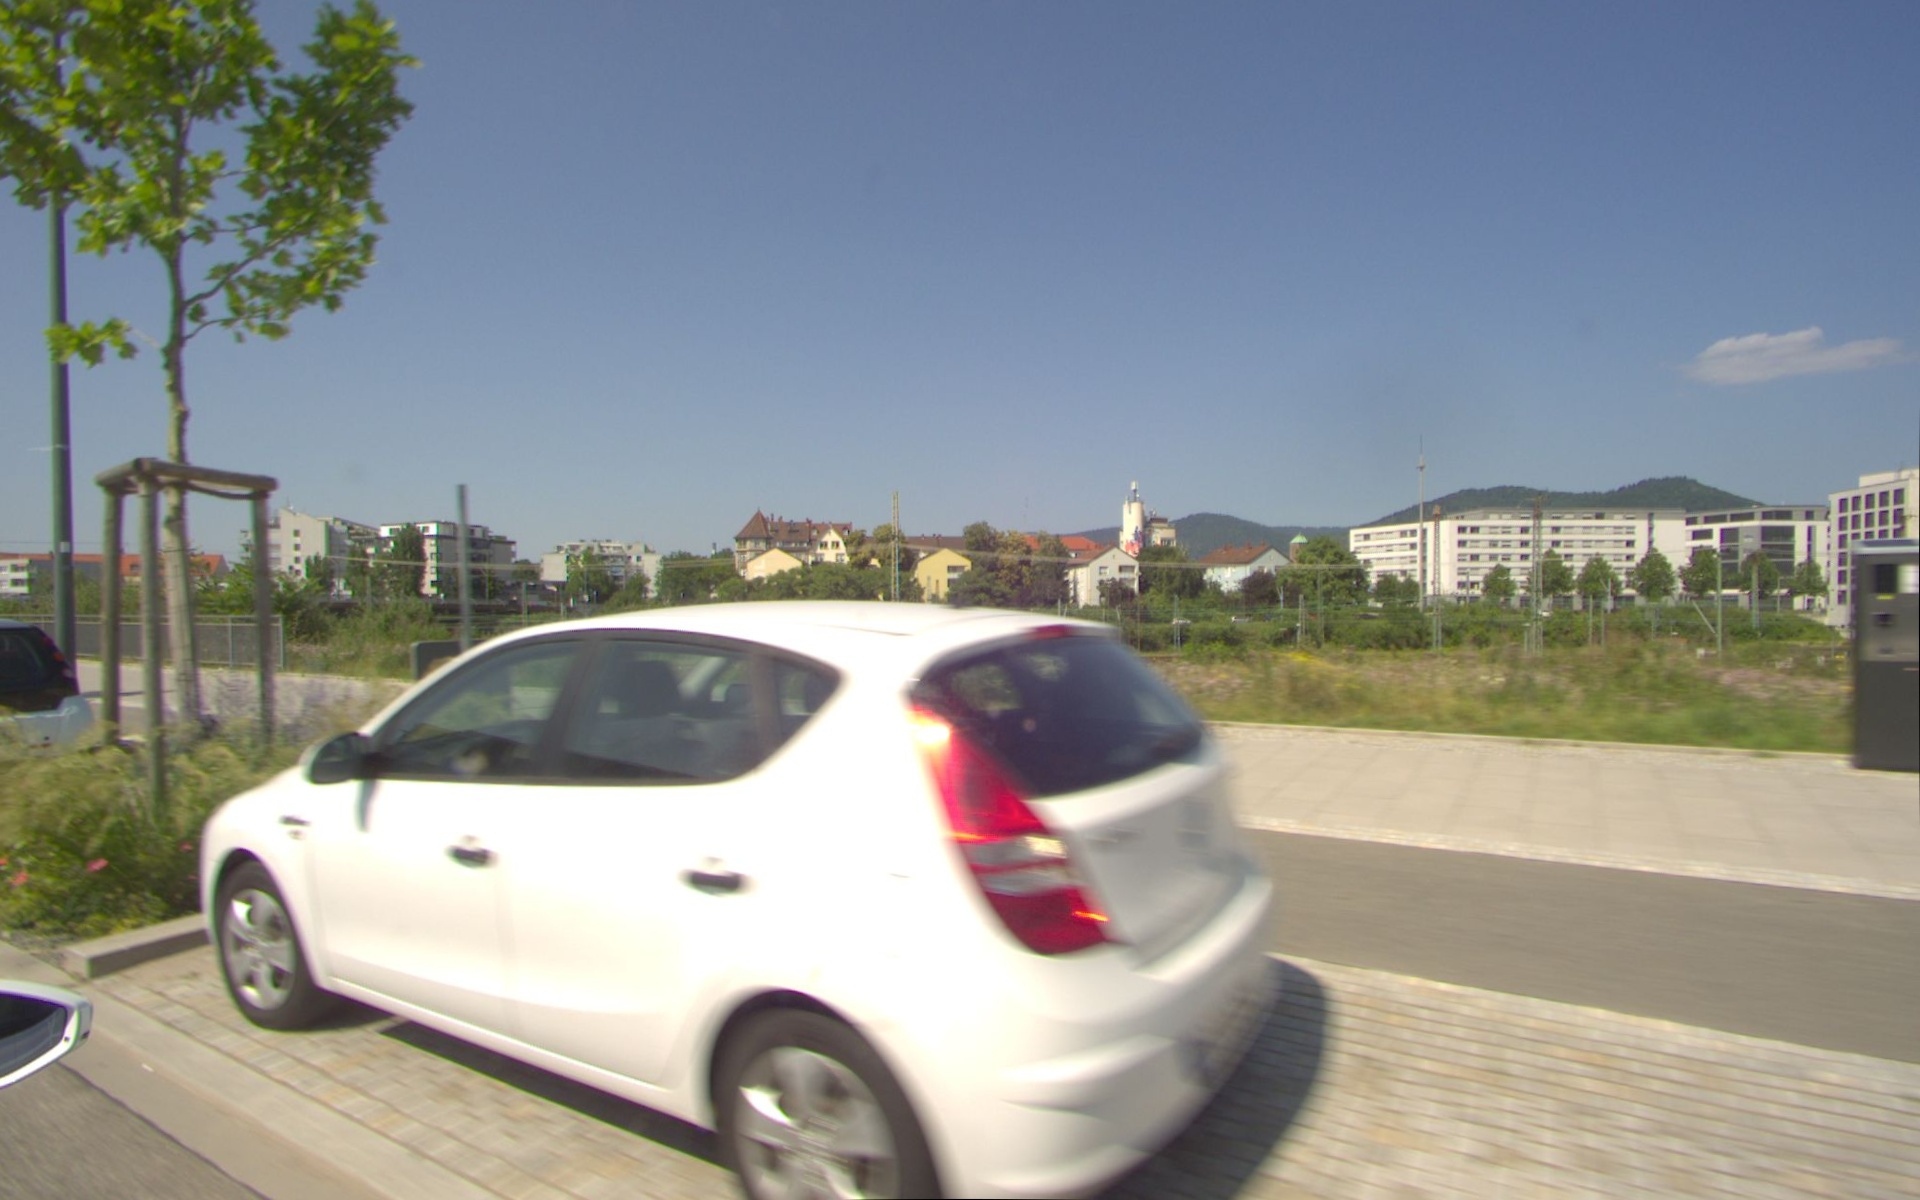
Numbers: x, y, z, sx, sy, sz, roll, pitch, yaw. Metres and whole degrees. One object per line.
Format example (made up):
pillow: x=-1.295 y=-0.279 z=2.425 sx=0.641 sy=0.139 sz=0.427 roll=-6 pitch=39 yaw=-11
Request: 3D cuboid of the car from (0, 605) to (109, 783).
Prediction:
car: x=-9.749 y=0.796 z=9.402 sx=4.029 sy=1.482 sz=1.699 roll=0 pitch=0 yaw=35

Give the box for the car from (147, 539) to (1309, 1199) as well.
car: x=-0.993 y=0.674 z=3.540 sx=3.943 sy=1.529 sz=1.743 roll=0 pitch=0 yaw=32
